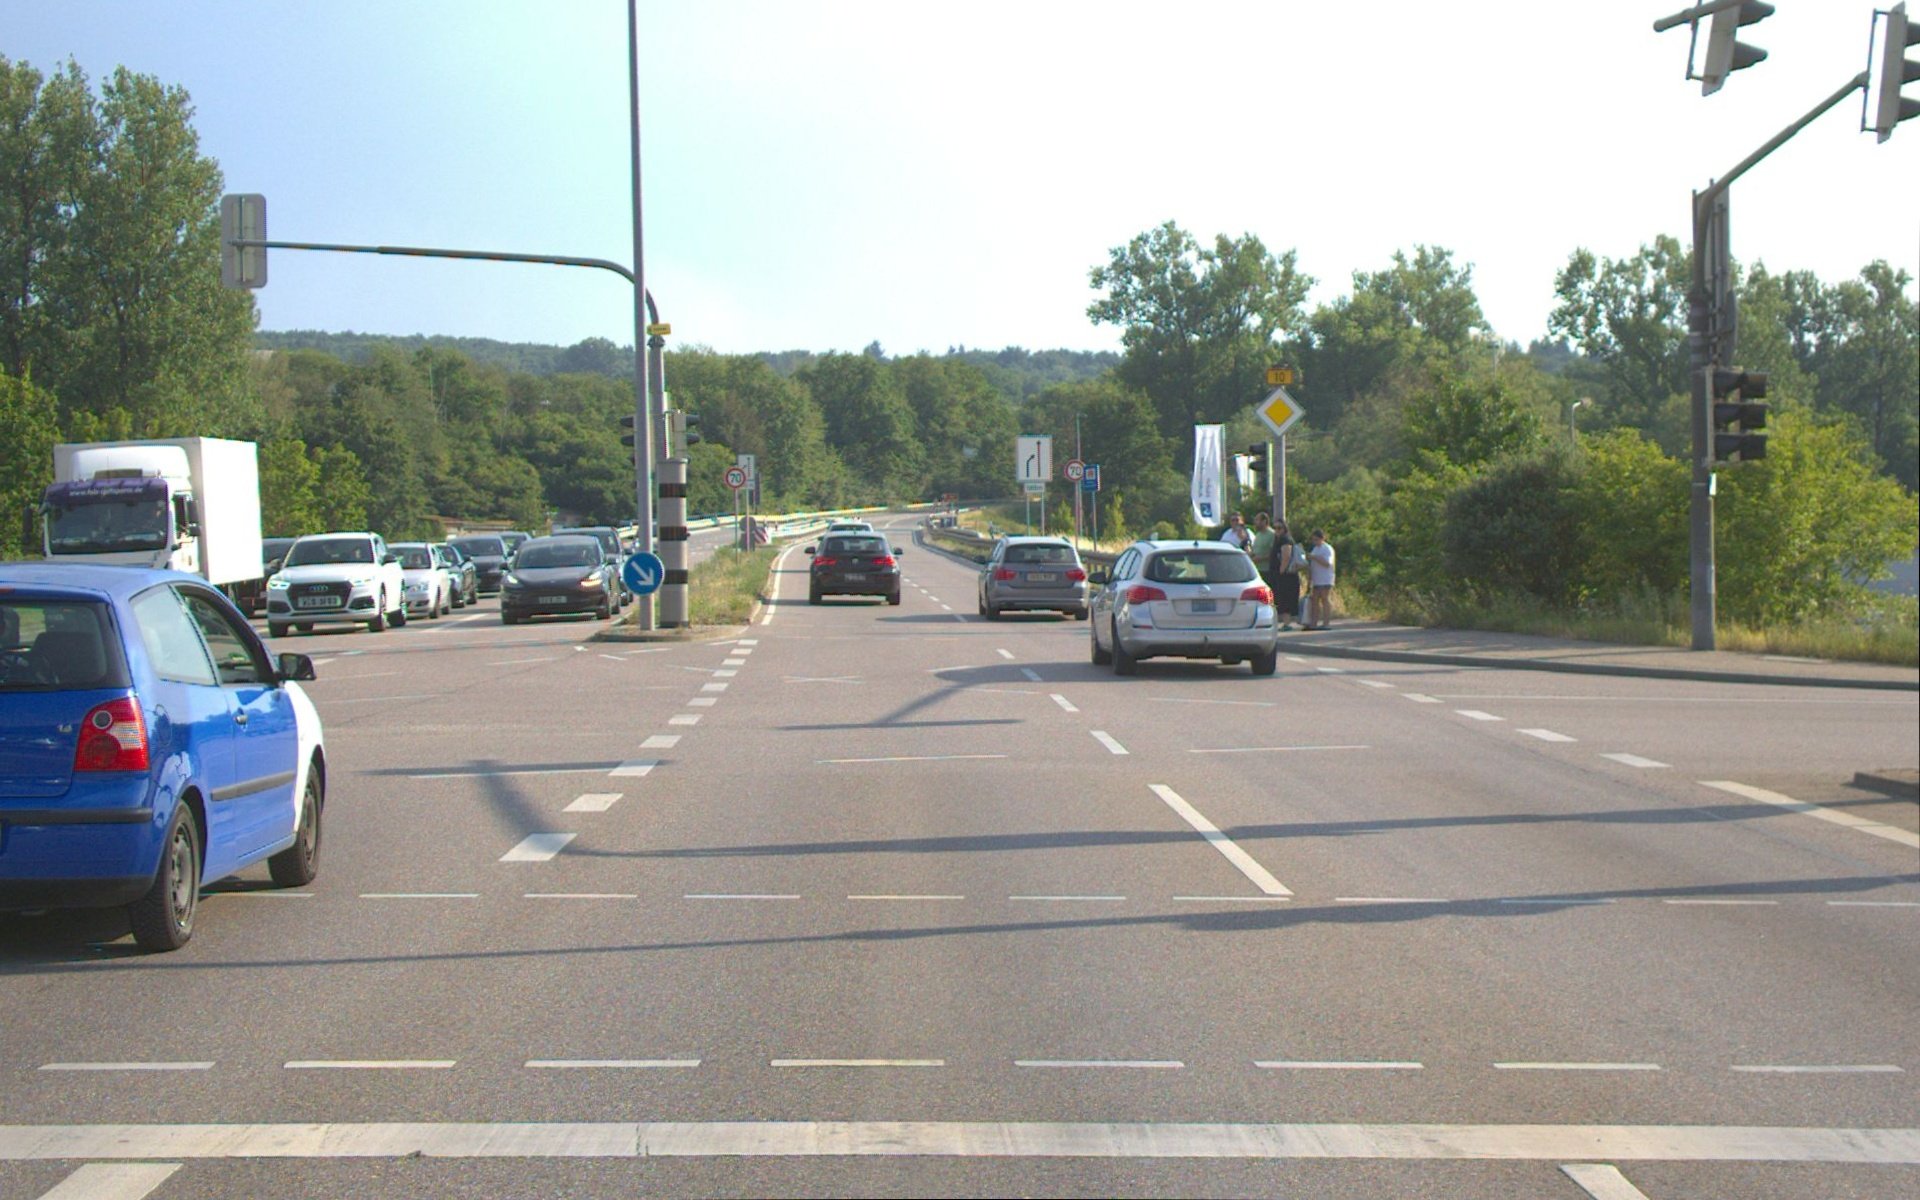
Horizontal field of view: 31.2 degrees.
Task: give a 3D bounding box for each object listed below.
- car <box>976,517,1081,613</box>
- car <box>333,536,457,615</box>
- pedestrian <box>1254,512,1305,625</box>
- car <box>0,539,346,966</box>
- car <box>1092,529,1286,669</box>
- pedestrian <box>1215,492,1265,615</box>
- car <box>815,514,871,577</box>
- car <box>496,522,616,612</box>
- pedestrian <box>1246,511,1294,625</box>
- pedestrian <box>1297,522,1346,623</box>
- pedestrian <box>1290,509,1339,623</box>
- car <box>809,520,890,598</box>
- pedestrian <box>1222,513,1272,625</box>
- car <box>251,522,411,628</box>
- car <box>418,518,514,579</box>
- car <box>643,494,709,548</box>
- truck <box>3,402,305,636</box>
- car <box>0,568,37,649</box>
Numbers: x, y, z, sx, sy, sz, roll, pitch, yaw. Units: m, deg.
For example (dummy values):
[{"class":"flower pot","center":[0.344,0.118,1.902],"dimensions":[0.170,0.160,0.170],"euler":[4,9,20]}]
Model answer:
[{"class":"car","center":[1.152,-0.597,59.444],"dimensions":[1.667,1.568,4.000],"euler":[1,1,-1]},{"class":"car","center":[-10.692,-0.474,65.340],"dimensions":[1.702,1.400,5.082],"euler":[-2,1,-3]},{"class":"pedestrian","center":[4.637,-0.460,49.965],"dimensions":[0.572,1.609,0.623],"euler":[-2,1,-6]},{"class":"car","center":[-3.697,0.523,14.024],"dimensions":[1.687,1.495,3.893],"euler":[-1,0,0]},{"class":"car","center":[2.535,-0.030,38.880],"dimensions":[1.809,1.481,4.000],"euler":[1,1,-1]},{"class":"pedestrian","center":[4.341,-0.722,53.303],"dimensions":[0.618,1.876,0.861],"euler":[-2,1,-3]},{"class":"car","center":[-3.415,-1.579,100.078],"dimensions":[1.537,1.788,3.506],"euler":[1,1,-3]},{"class":"car","center":[-6.984,-0.573,59.805],"dimensions":[1.790,1.461,4.930],"euler":[-1,1,-4]},{"class":"pedestrian","center":[4.565,-0.470,50.699],"dimensions":[0.571,1.672,0.623],"euler":[1,0,-6]},{"class":"pedestrian","center":[5.252,-0.404,50.025],"dimensions":[0.571,1.452,0.623],"euler":[1,0,-6]},{"class":"pedestrian","center":[5.230,-0.501,50.765],"dimensions":[0.571,1.672,0.623],"euler":[1,0,-6]},{"class":"car","center":[-2.144,-0.801,67.447],"dimensions":[1.492,1.471,3.359],"euler":[1,1,-1]},{"class":"pedestrian","center":[4.385,-0.471,52.540],"dimensions":[0.594,1.677,0.633],"euler":[-3,1,-2]},{"class":"car","center":[-10.589,-0.432,58.186],"dimensions":[1.993,1.672,4.807],"euler":[-2,1,-3]},{"class":"car","center":[-11.464,-1.191,80.045],"dimensions":[1.780,1.349,4.000],"euler":[1,1,-2]},{"class":"car","center":[-8.608,-2.395,104.458],"dimensions":[1.780,1.515,4.000],"euler":[-2,1,-2]},{"class":"truck","center":[-14.191,-1.385,61.522],"dimensions":[2.933,3.677,10.500],"euler":[-3,1,-1]},{"class":"car","center":[-17.212,0.181,58.731],"dimensions":[1.813,1.371,4.000],"euler":[-3,1,-1]}]
